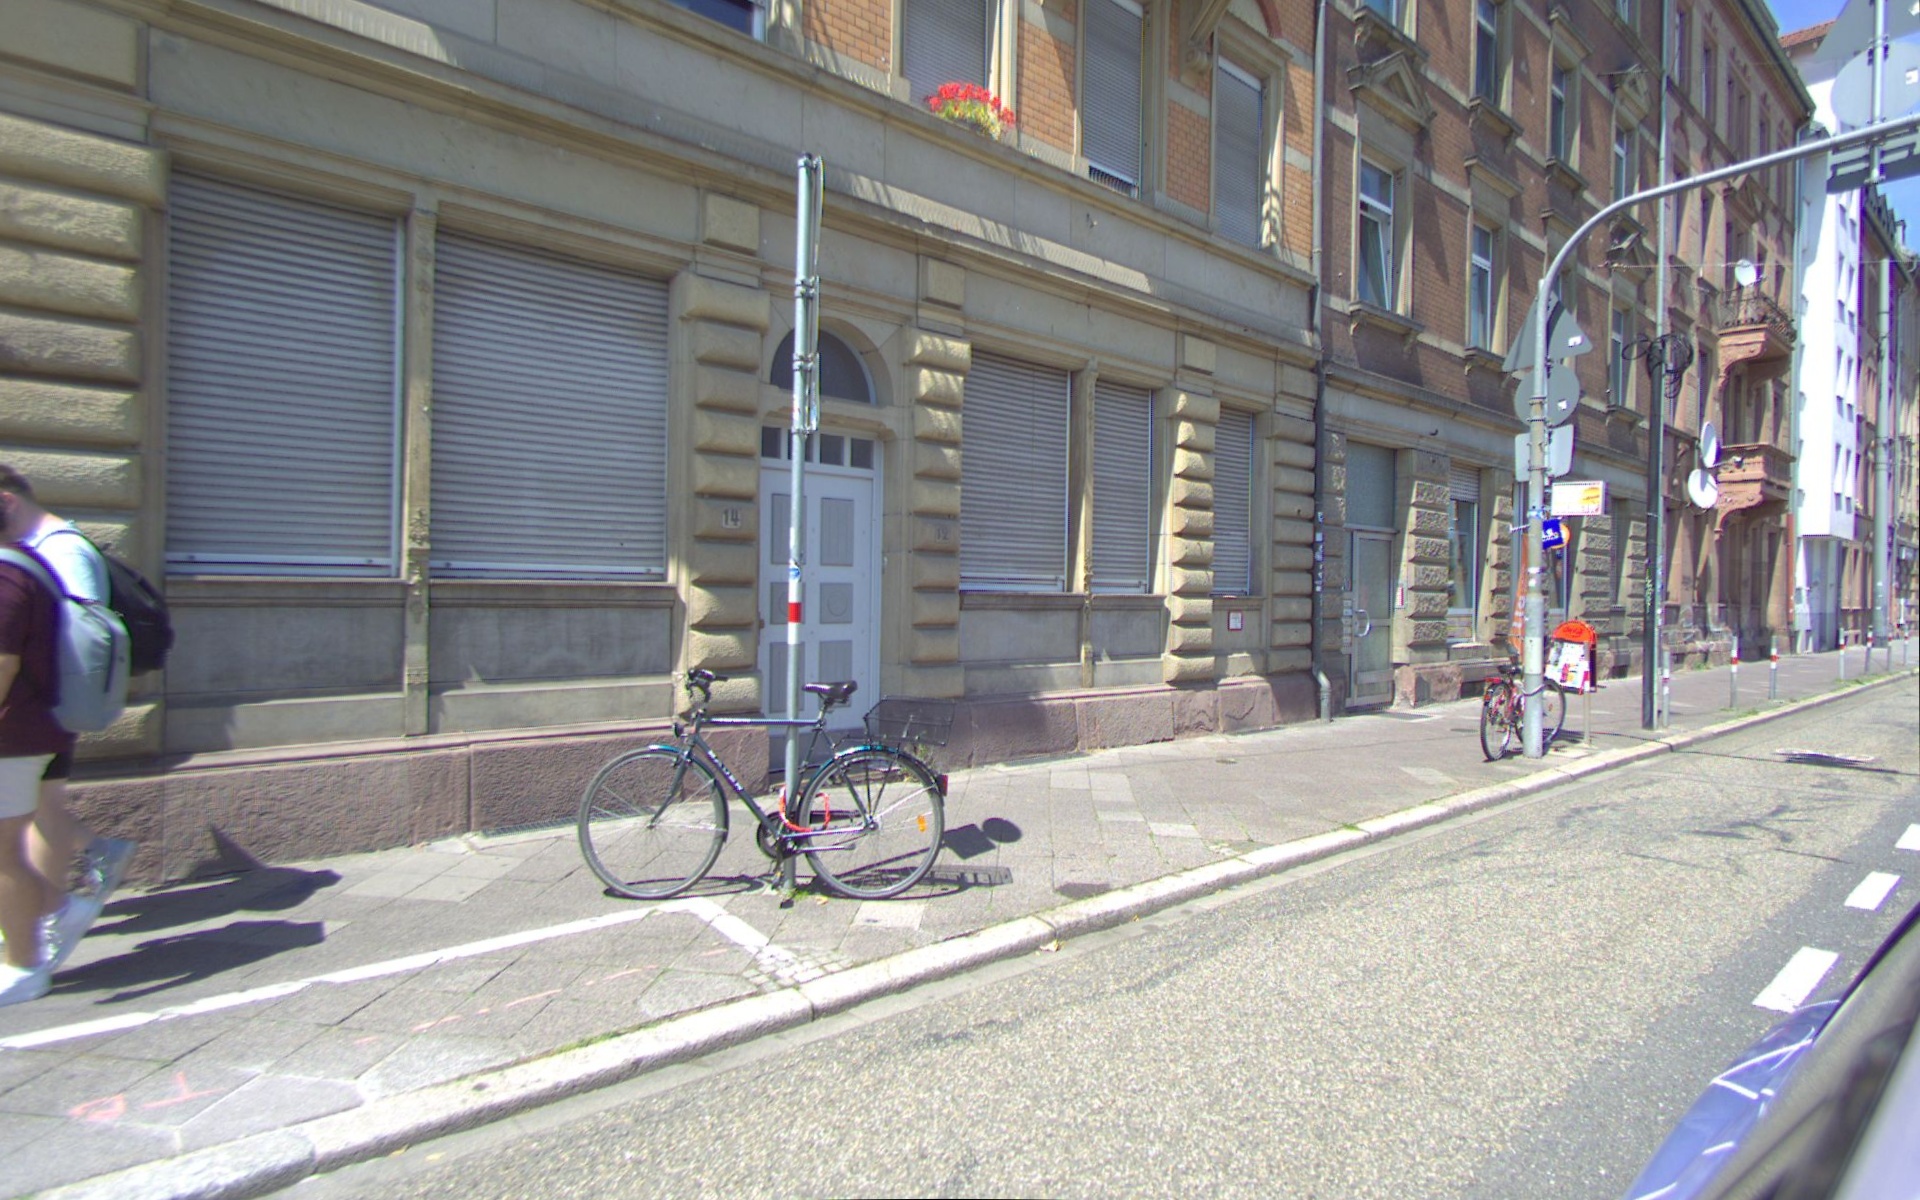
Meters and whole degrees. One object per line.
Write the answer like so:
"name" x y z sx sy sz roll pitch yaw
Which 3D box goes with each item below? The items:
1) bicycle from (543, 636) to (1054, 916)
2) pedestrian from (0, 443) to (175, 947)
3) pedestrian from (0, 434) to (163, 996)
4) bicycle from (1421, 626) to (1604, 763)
"bicycle" -0.707 0.767 4.695 2.196 1.145 0.501 1 1 -11
"pedestrian" -3.612 0.331 4.118 0.632 1.871 0.704 1 4 -39
"pedestrian" -3.140 0.349 3.460 0.632 1.741 0.722 1 1 -39
"bicycle" 5.154 0.816 9.357 2.376 1.111 0.449 1 1 -35
